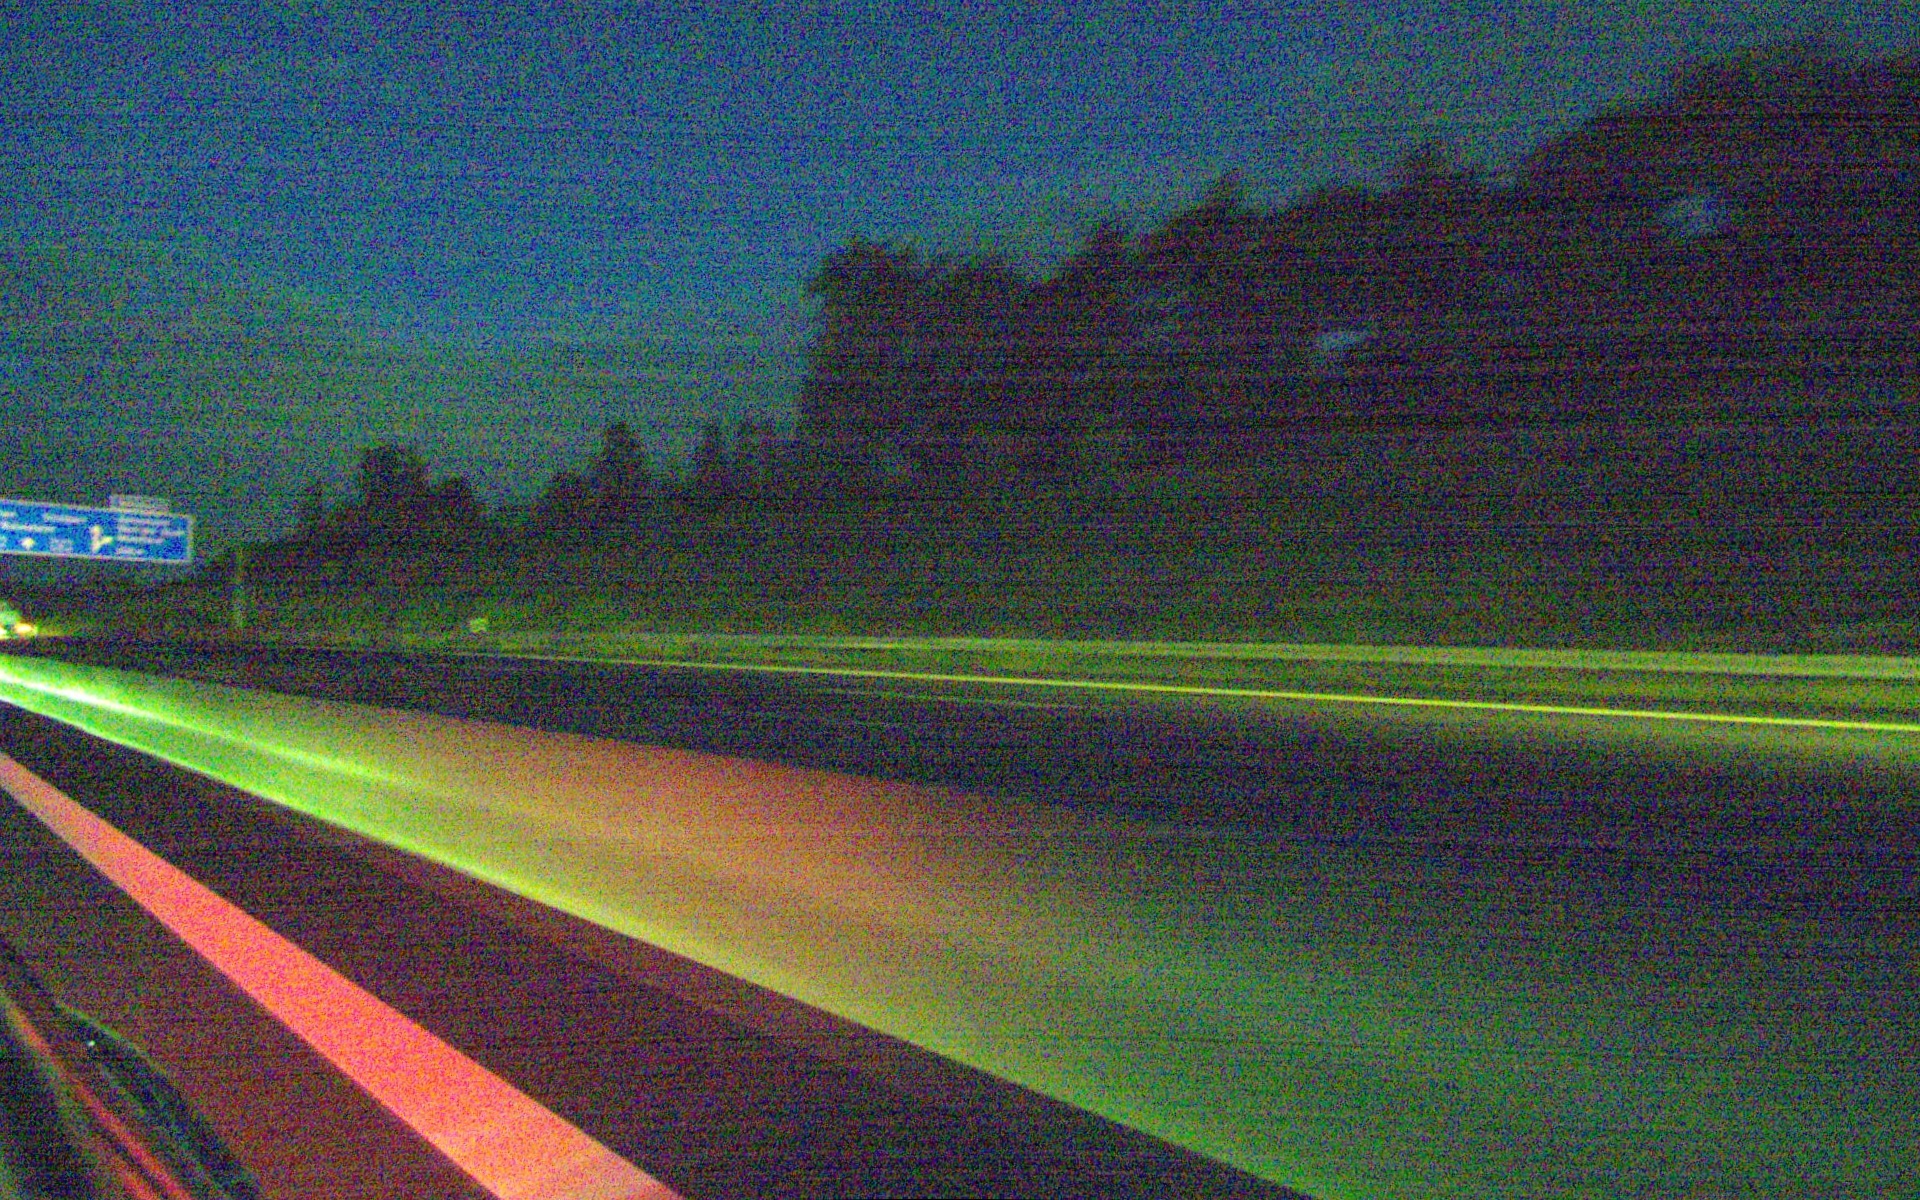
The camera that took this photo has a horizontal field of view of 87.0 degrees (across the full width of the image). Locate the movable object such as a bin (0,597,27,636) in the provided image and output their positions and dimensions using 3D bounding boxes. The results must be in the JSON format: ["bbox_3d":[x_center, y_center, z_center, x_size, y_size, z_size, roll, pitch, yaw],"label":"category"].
[{"bbox_3d":[-87.297,1.552,92.331,7.430,3.443,2.185,-2,-1,40],"label":"movable object such as a bin"}]
